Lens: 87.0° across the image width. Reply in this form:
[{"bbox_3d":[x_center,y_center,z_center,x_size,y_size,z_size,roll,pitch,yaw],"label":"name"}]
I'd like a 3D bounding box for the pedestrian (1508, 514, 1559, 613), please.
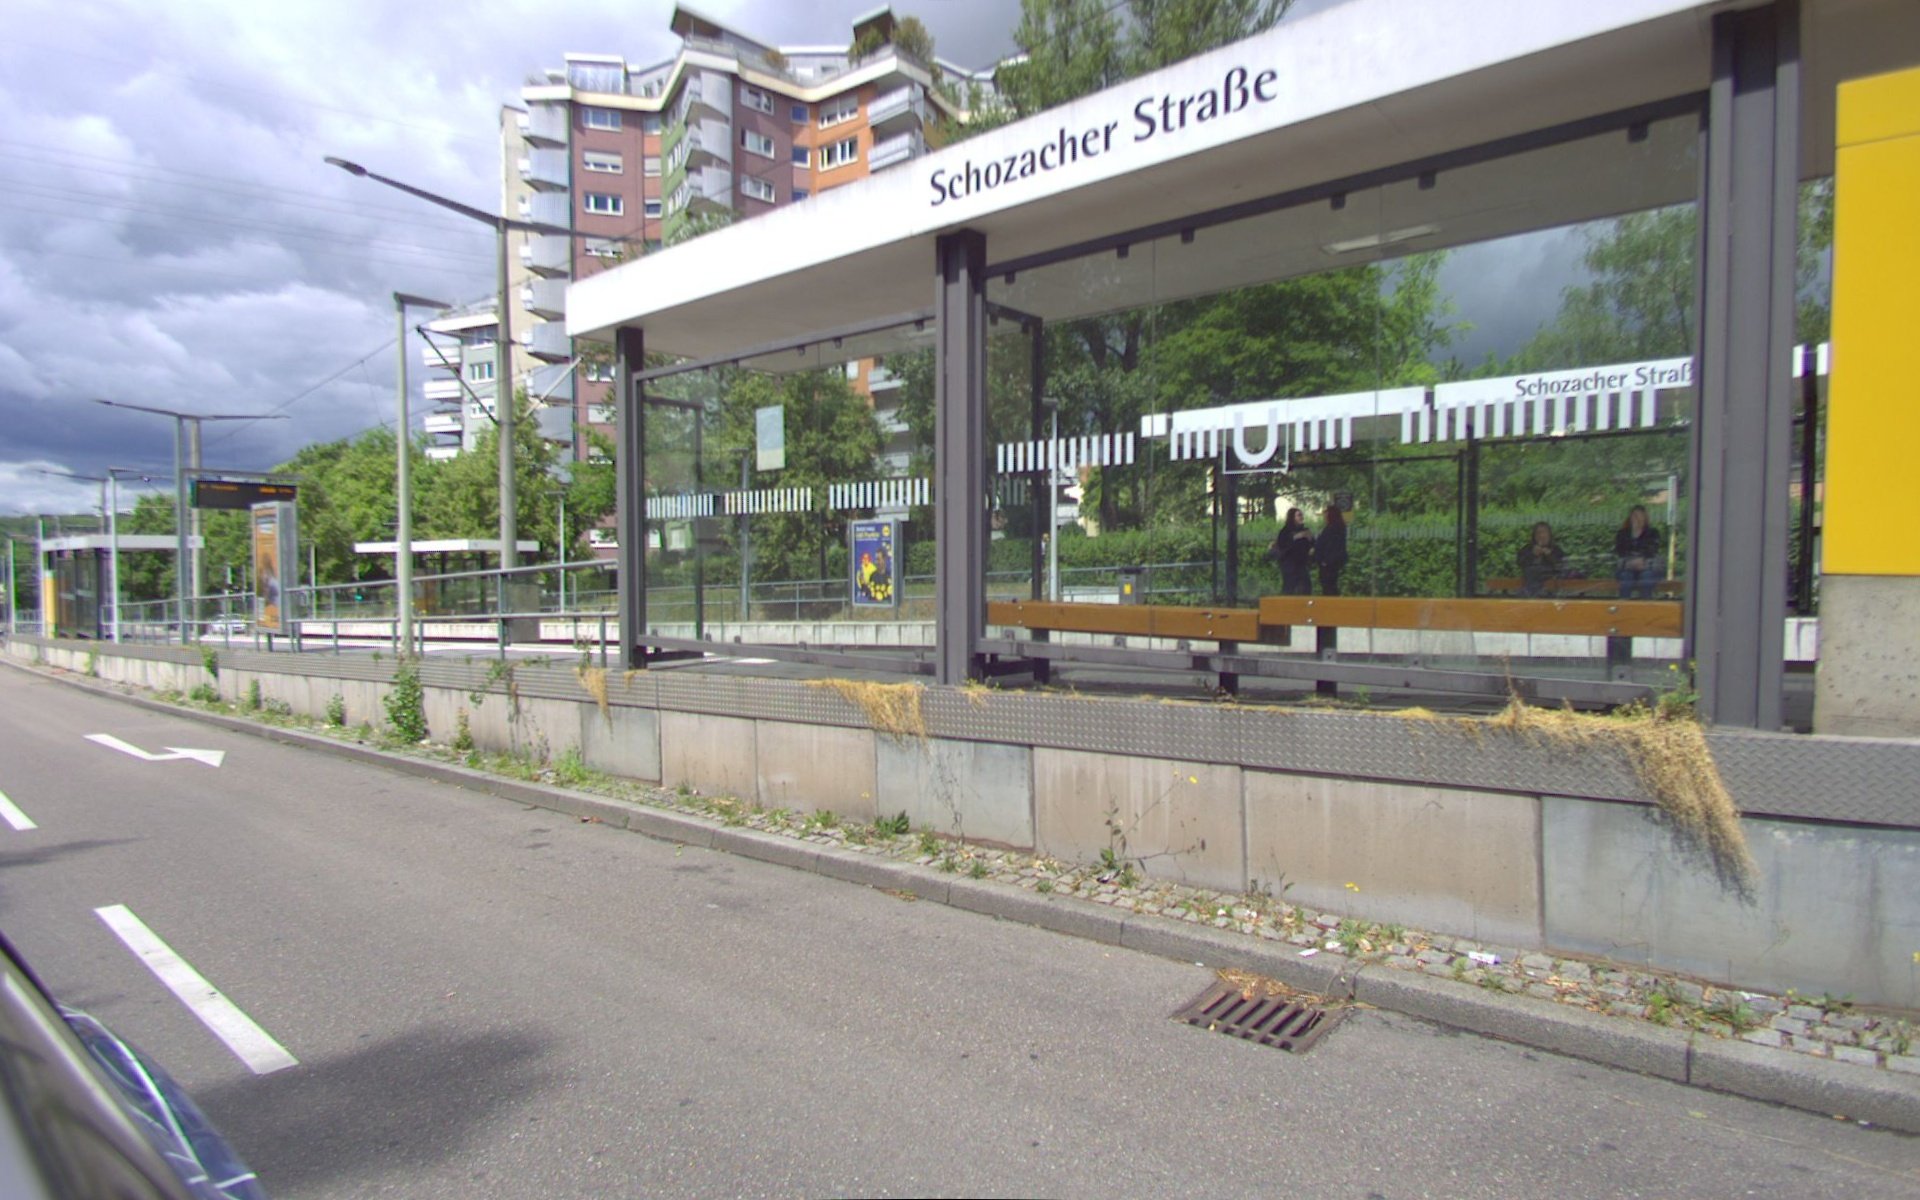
[{"bbox_3d":[7.459,-0.457,13.178,0.541,1.246,0.516,-1,-1,29],"label":"pedestrian"}]

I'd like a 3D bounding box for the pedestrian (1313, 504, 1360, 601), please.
[{"bbox_3d":[5.548,-0.689,14.910,0.520,1.390,0.537,2,1,32],"label":"pedestrian"}]

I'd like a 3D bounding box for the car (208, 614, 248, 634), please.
[{"bbox_3d":[-54.938,1.785,75.951,3.999,1.429,1.637,-1,-1,42],"label":"car"}]

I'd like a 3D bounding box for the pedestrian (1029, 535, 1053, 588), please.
[{"bbox_3d":[2.663,-1.257,33.301,0.504,1.725,0.643,-1,-1,41],"label":"pedestrian"}]

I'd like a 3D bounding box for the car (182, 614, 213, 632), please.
[{"bbox_3d":[-66.462,1.981,88.188,1.635,1.524,3.739,-1,-1,-45],"label":"car"}]

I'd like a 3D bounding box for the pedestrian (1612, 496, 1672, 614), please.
[{"bbox_3d":[8.278,-0.528,12.273,0.506,1.379,0.637,-1,-1,41],"label":"pedestrian"}]

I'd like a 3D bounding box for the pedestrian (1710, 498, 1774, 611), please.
[{"bbox_3d":[8.991,-0.500,11.635,0.517,1.246,0.734,-1,-1,41],"label":"pedestrian"}]

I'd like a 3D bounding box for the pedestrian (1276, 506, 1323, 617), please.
[{"bbox_3d":[5.138,-0.572,15.348,0.558,1.657,0.520,-1,-1,9],"label":"pedestrian"}]
